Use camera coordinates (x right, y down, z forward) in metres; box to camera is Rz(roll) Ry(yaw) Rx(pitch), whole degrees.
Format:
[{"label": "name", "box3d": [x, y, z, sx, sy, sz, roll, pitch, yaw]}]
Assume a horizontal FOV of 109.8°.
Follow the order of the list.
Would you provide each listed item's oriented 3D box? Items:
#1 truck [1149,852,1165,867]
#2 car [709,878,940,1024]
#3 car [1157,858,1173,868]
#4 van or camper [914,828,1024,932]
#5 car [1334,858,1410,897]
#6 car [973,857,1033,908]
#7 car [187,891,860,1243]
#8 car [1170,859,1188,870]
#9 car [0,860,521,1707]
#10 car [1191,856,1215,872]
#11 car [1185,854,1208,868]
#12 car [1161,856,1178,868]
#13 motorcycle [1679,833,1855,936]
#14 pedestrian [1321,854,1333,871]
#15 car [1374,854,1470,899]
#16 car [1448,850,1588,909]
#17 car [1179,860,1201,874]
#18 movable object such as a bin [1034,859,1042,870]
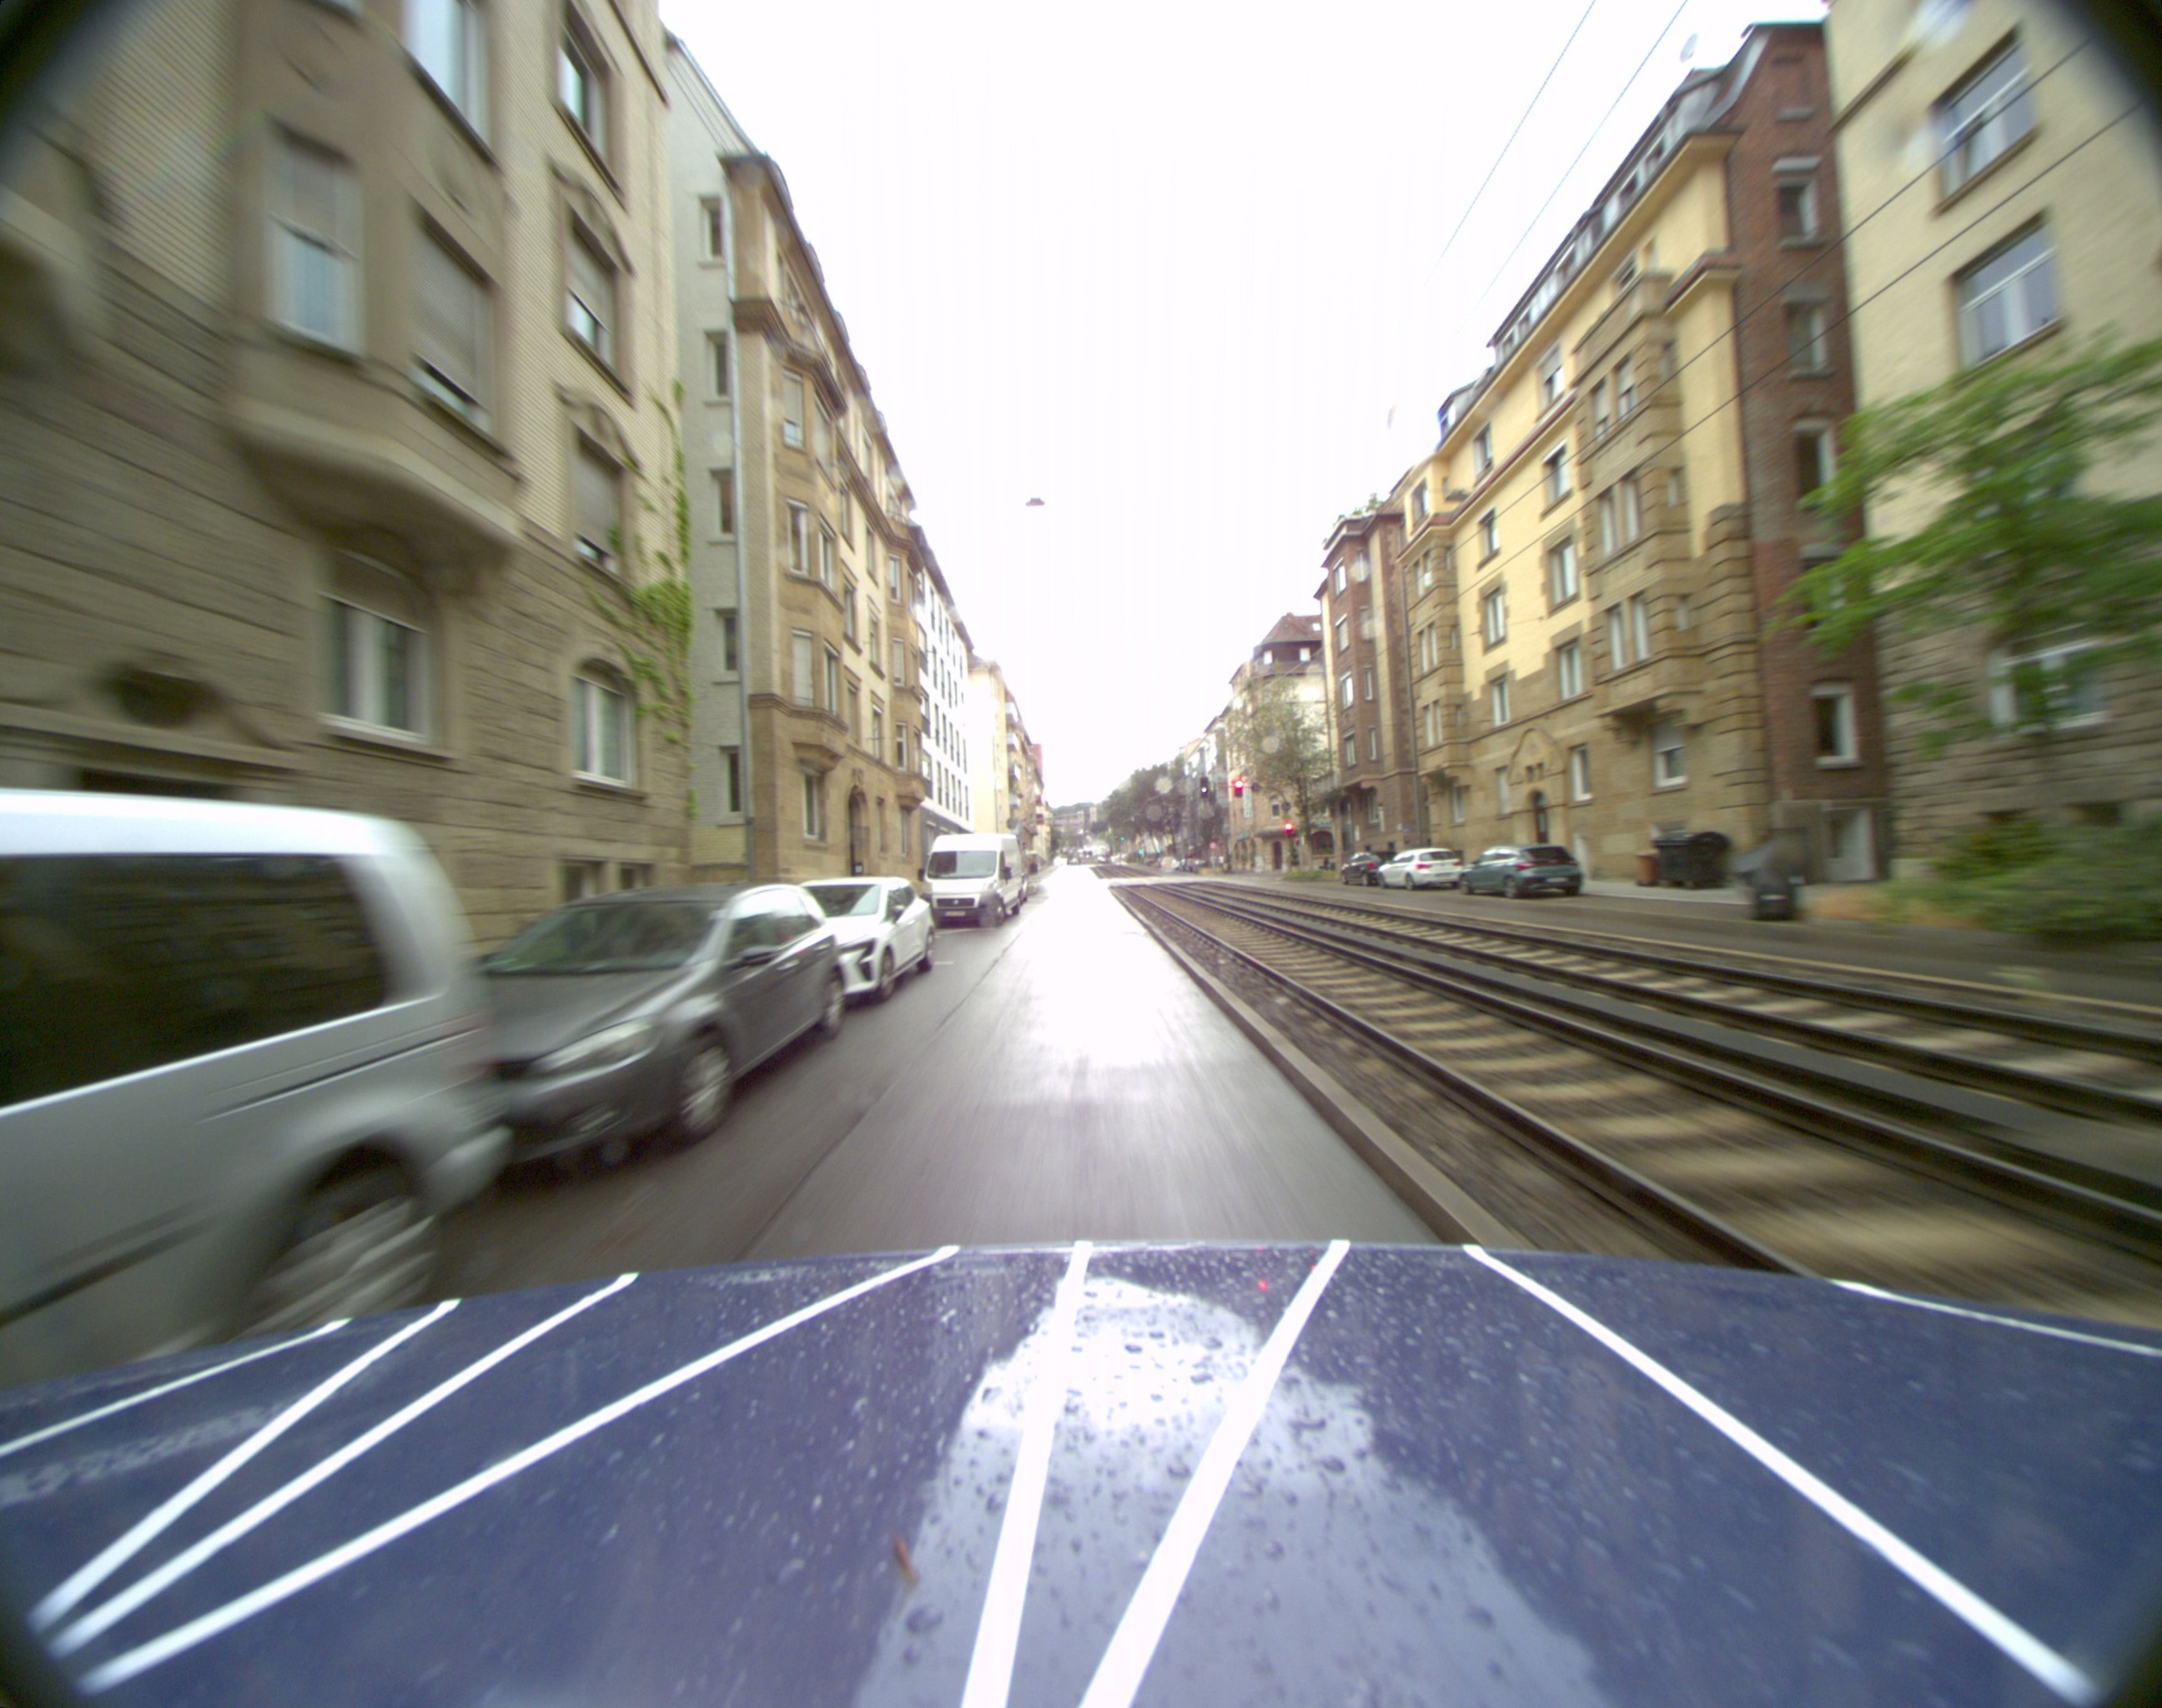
[{"label": "truck", "box3d": [12.946, 0.855, 130.044, 2.197, 2.332, 6.352, -1, 1, 2]}, {"label": "car", "box3d": [-3.107, 1.091, 10.097, 1.680, 1.403, 4.000, -2, 0, 0]}, {"label": "car", "box3d": [12.823, 1.413, 115.870, 1.911, 1.431, 4.469, -2, 0, -1]}, {"label": "van or camper", "box3d": [-2.942, 0.643, 21.502, 2.069, 2.454, 6.119, -2, 0, 1]}, {"label": "car", "box3d": [12.454, 0.957, 32.782, 1.769, 1.477, 4.000, -2, 0, 1]}, {"label": "car", "box3d": [-2.986, 1.055, 29.995, 1.773, 1.797, 4.482, -3, 0, 0]}, {"label": "car", "box3d": [-3.219, 1.104, 5.606, 1.999, 1.432, 4.000, -2, 0, -1]}, {"label": "car", "box3d": [12.558, 1.335, 97.249, 1.706, 1.328, 4.130, -4, 0, 1]}, {"label": "car", "box3d": [-3.121, 0.908, 0.791, 1.779, 1.766, 4.361, -1, -1, 1]}, {"label": "car", "box3d": [12.656, 1.063, 78.790, 1.769, 1.543, 3.895, -2, 0, 0]}, {"label": "car", "box3d": [12.587, 0.755, 83.129, 1.812, 1.489, 3.525, -3, 0, -1]}, {"label": "car", "box3d": [12.655, 1.144, 108.659, 1.781, 1.560, 4.158, -2, 0, -1]}, {"label": "motorcycle", "box3d": [12.176, 0.505, 13.523, 2.268, 1.633, 1.291, -2, 0, -17]}, {"label": "pedestrian", "box3d": [20.535, 0.681, 63.439, 0.819, 1.407, 0.721, -2, 0, 4]}, {"label": "car", "box3d": [12.255, 0.768, 27.604, 1.671, 1.417, 4.263, -2, 0, 2]}, {"label": "car", "box3d": [12.216, 0.664, 21.570, 1.565, 1.429, 4.146, -4, 0, 1]}, {"label": "car", "box3d": [12.692, 1.507, 88.630, 1.805, 1.446, 4.430, -3, 0, -1]}, {"label": "movable object such as a bin", "box3d": [-5.670, 1.441, 100.352, 1.011, 1.443, 1.393, 0, 0, 0]}]
